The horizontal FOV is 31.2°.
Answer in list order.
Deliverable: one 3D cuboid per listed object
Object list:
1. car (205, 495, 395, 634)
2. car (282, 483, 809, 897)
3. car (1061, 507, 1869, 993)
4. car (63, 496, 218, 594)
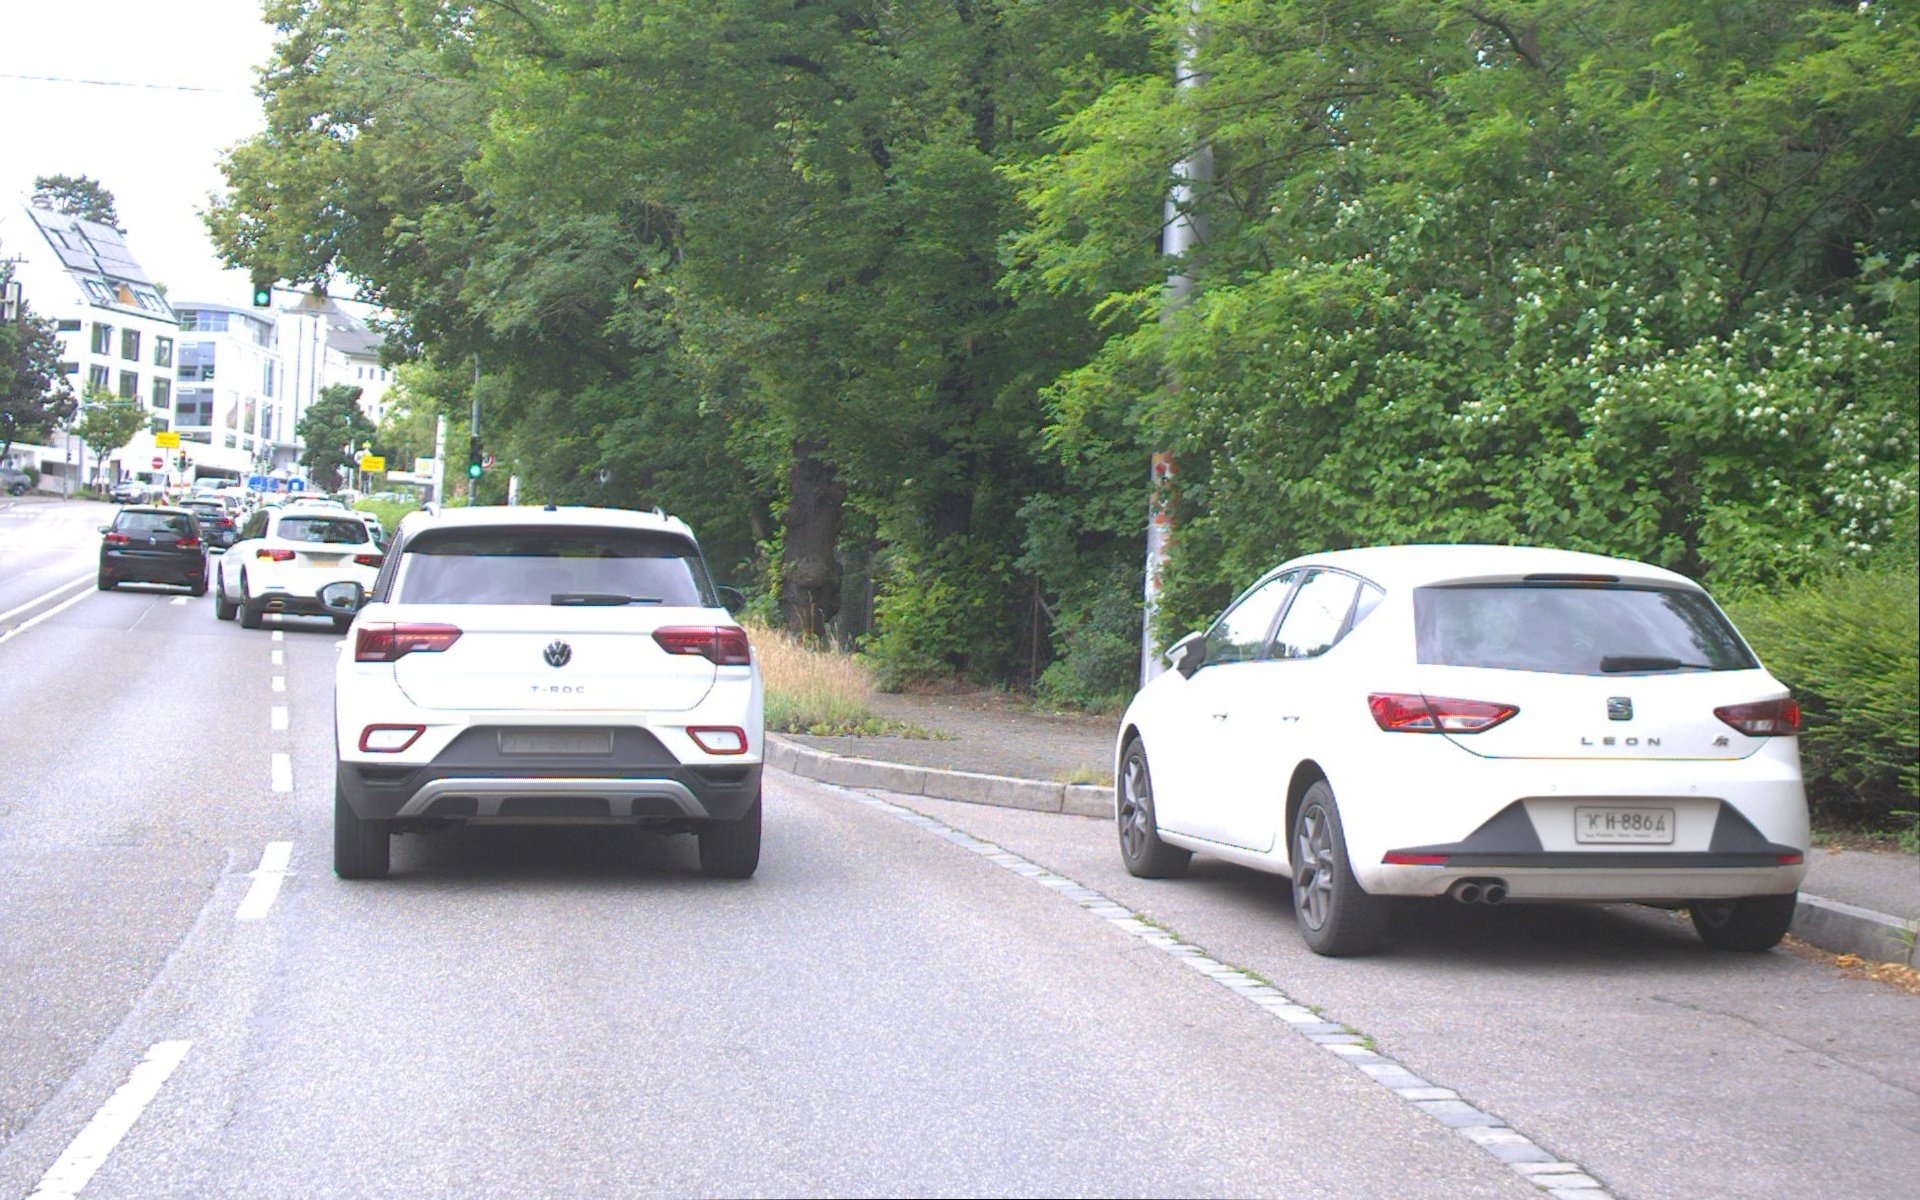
[{"bbox_3d":[-8.902,-0.516,46.114,1.851,1.697,4.002,0,3,-20],"label":"car"},{"bbox_3d":[-2.003,0.301,15.491,2.000,1.590,4.001,-1,1,-12],"label":"car"},{"bbox_3d":[1.747,0.443,13.648,1.732,1.477,4.703,2,2,-10],"label":"car"},{"bbox_3d":[-13.937,-0.955,58.322,1.949,1.461,4.002,2,2,-22],"label":"car"}]
